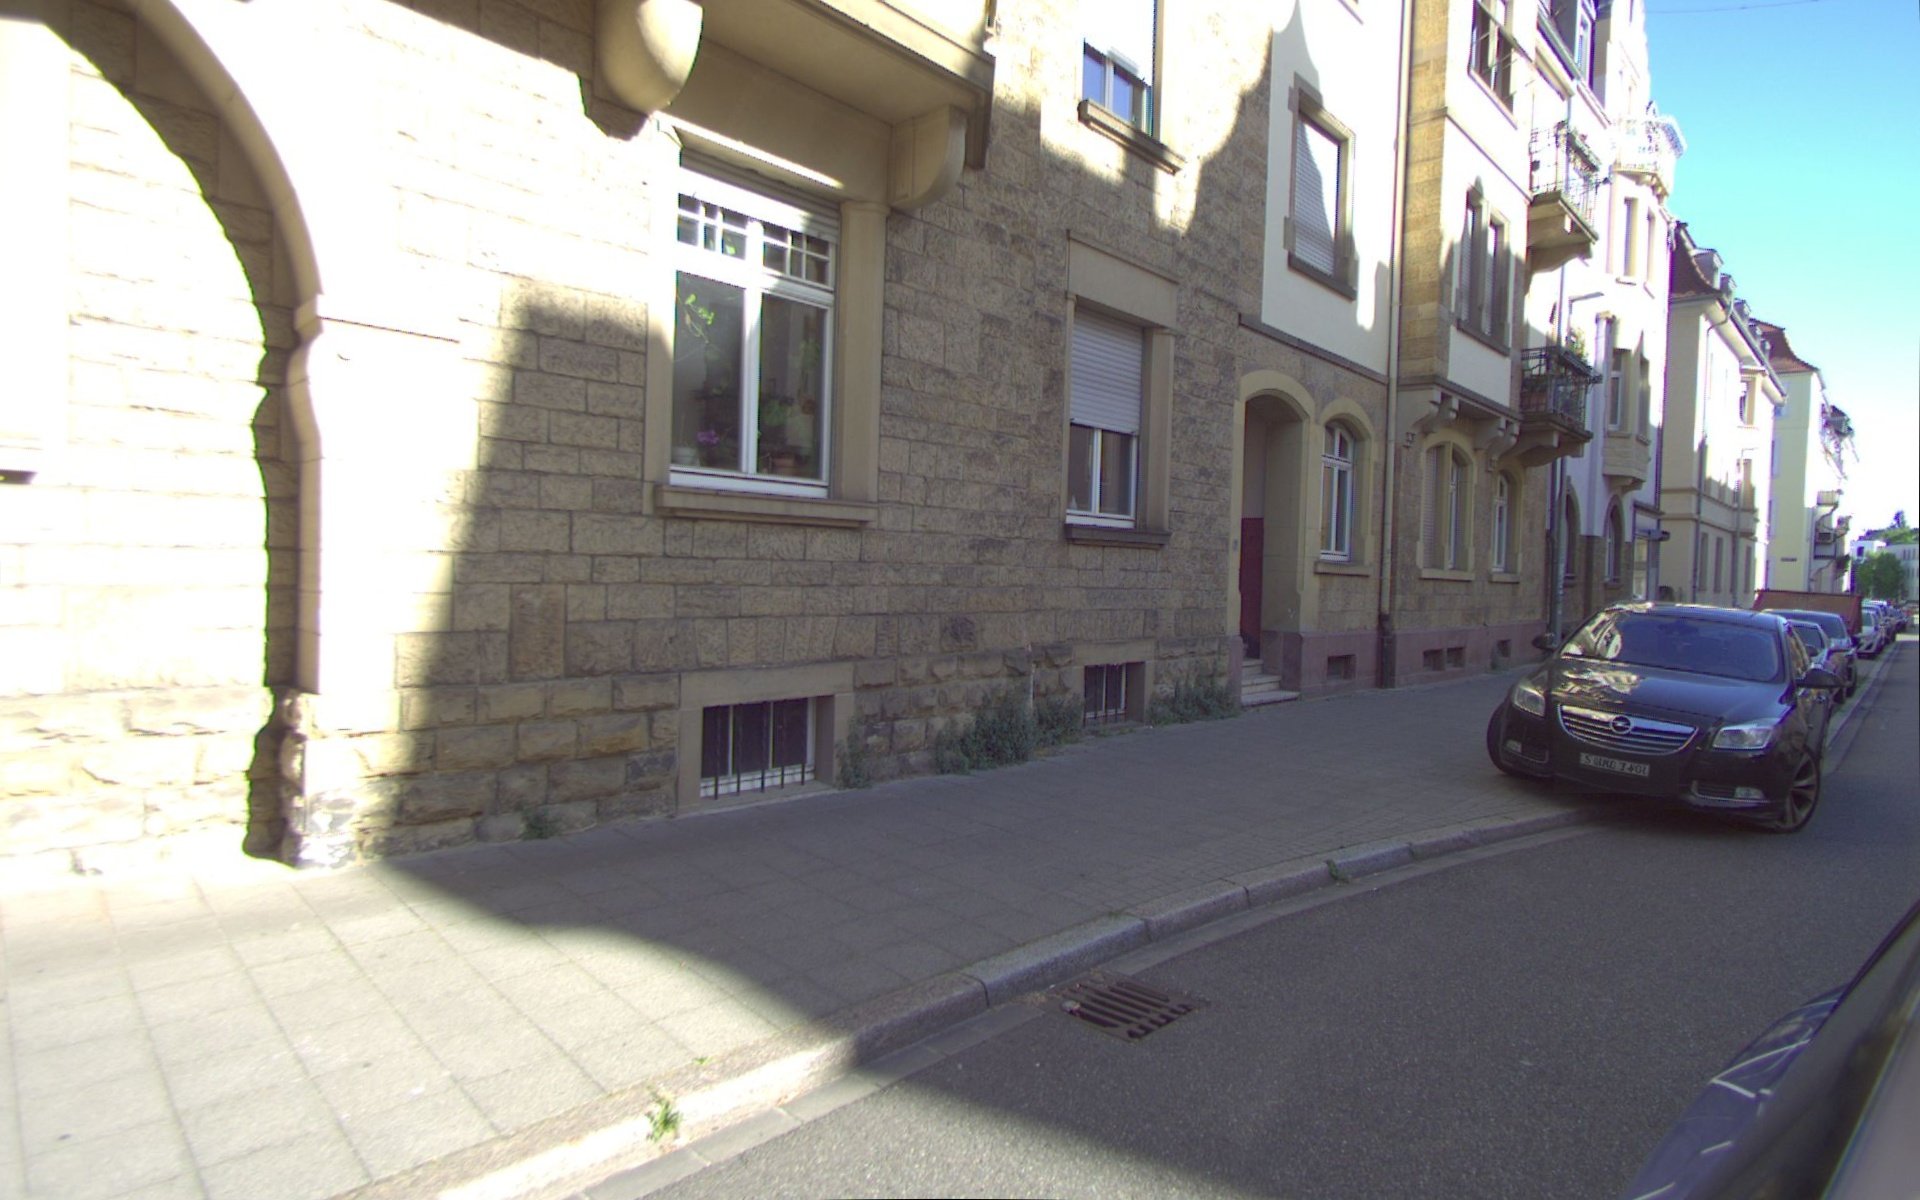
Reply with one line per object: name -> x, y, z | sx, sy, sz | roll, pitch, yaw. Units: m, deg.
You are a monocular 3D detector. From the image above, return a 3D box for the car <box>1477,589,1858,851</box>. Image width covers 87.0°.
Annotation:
car -> 5.897, 0.711, 8.195 | 1.866, 1.480, 4.271 | 4, 2, 44

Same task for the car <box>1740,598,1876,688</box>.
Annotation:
car -> 16.051, 0.731, 19.176 | 1.785, 1.447, 3.751 | 3, 2, 41

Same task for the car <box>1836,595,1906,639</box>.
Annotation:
car -> 35.569, 0.631, 39.484 | 3.849, 1.565, 1.682 | 0, 3, -44

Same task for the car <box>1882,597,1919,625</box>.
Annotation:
car -> 55.534, 0.619, 59.597 | 1.705, 1.442, 3.663 | 5, 4, 44

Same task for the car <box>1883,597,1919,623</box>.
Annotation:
car -> 59.202, 0.606, 63.535 | 1.705, 1.442, 3.663 | 5, 4, 44

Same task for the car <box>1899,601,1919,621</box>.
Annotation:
car -> 76.664, 0.886, 81.286 | 1.705, 1.442, 3.663 | 5, 4, 44

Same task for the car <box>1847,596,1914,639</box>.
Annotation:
car -> 38.706, 0.704, 42.513 | 4.361, 1.685, 1.788 | 0, 2, -44

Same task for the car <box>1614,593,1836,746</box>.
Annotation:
car -> 9.376, 0.704, 12.274 | 1.652, 1.460, 4.191 | 4, 3, 43

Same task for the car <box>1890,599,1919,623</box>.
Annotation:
car -> 63.649, 0.727, 67.918 | 1.704, 1.443, 3.665 | 3, 2, 42

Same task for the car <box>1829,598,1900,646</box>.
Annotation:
car -> 31.445, 0.729, 35.158 | 1.653, 1.482, 4.029 | 3, 2, 44

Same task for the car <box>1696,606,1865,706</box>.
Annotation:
car -> 13.104, 0.791, 16.088 | 1.694, 1.270, 3.878 | 4, 3, 44

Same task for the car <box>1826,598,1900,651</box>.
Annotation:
car -> 27.870, 0.708, 31.235 | 1.586, 1.482, 3.654 | 3, 2, 42
